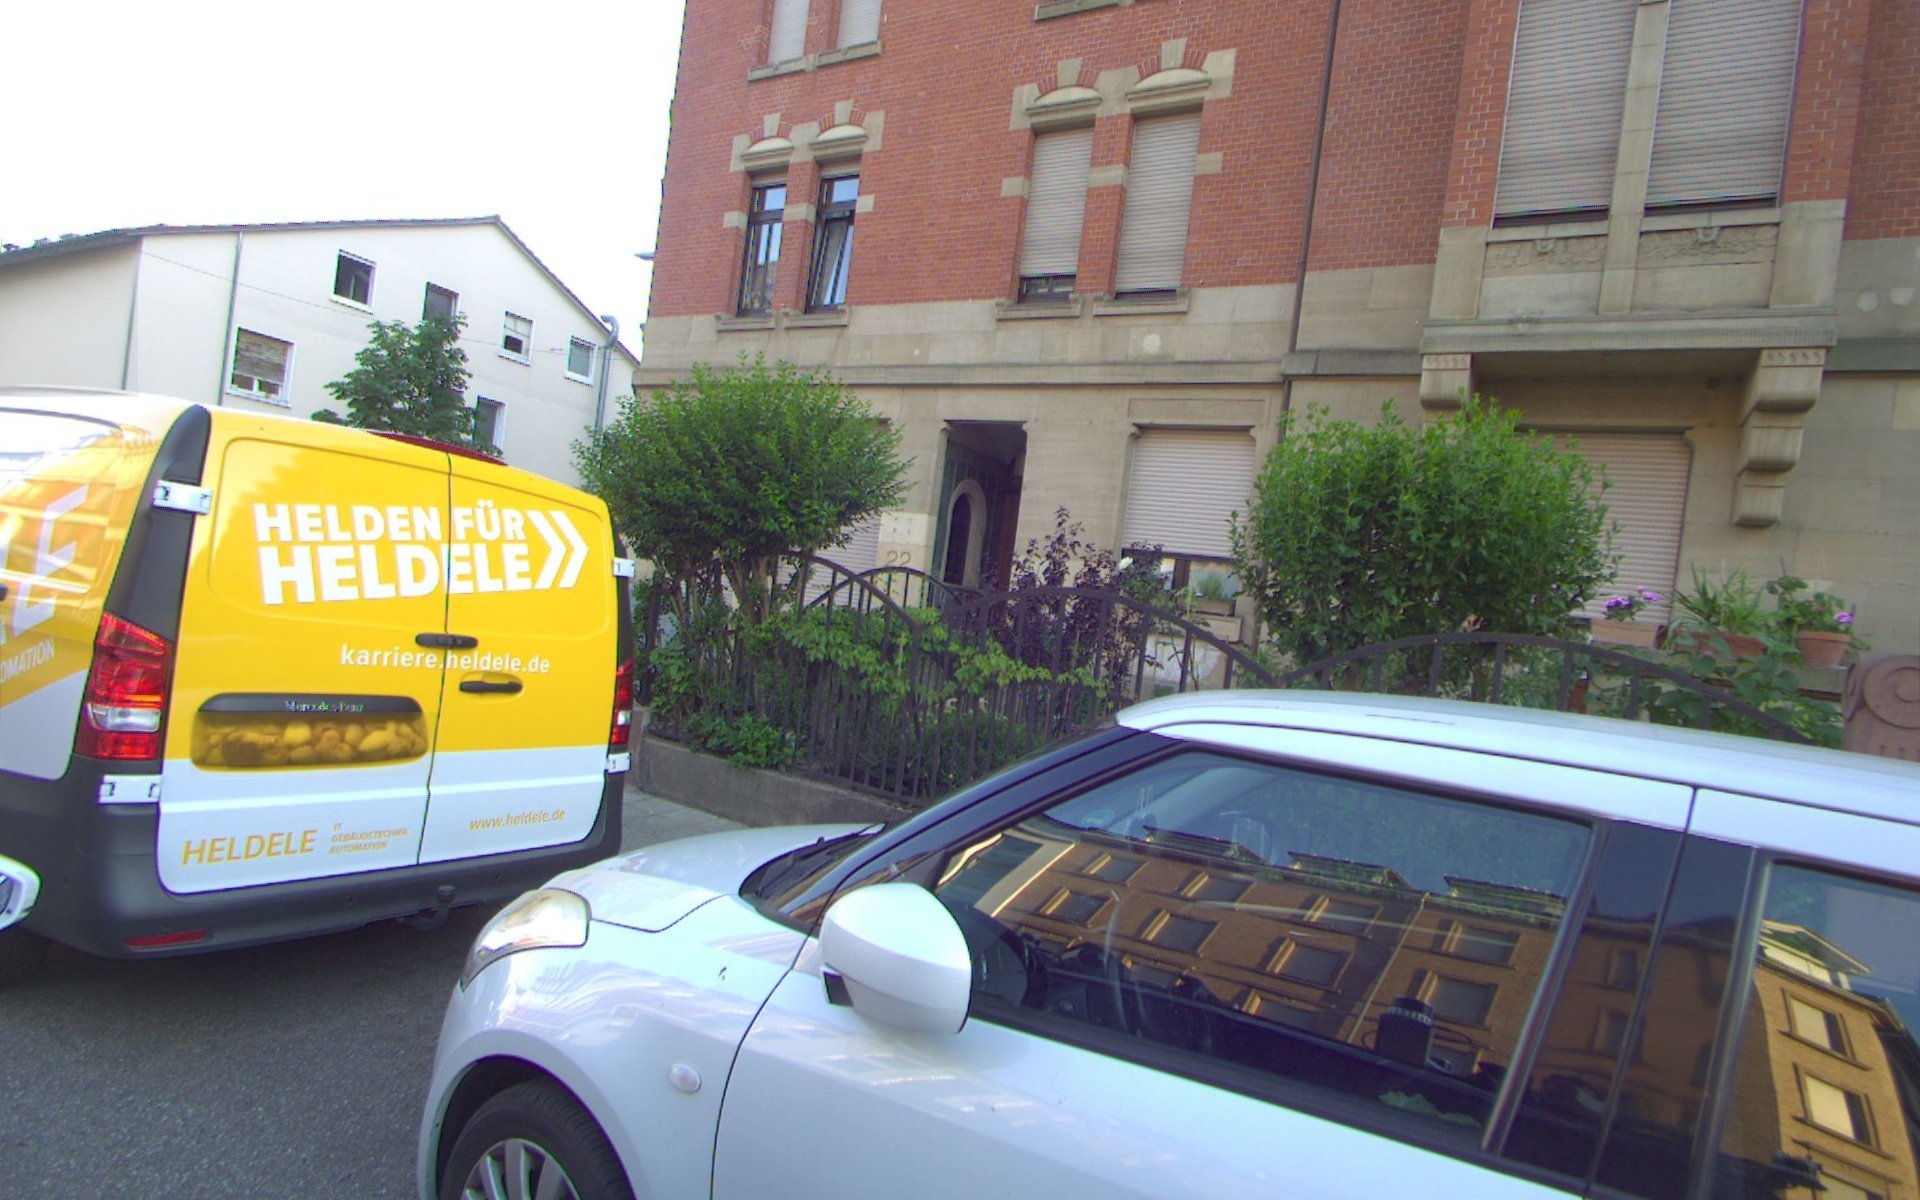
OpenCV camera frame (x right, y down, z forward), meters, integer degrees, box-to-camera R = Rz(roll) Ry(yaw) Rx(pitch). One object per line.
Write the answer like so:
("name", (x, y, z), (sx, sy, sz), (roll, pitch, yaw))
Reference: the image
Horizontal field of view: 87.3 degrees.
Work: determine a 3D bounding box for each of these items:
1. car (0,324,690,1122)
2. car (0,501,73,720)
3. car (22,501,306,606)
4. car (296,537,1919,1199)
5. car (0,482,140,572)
("car", (-3.800, 0.113, 4.487), (4.996, 1.906, 1.897), (7, -1, 31))
("car", (-8.404, -0.201, 7.259), (4.182, 1.440, 1.725), (7, -2, 31))
("car", (-15.327, -0.836, 19.594), (1.629, 1.473, 3.935), (8, 0, 30))
("car", (0.718, 0.885, 1.734), (3.799, 1.494, 1.677), (7, -1, 34))
("car", (-19.792, -1.628, 20.753), (1.727, 1.533, 4.054), (9, 1, 32))
